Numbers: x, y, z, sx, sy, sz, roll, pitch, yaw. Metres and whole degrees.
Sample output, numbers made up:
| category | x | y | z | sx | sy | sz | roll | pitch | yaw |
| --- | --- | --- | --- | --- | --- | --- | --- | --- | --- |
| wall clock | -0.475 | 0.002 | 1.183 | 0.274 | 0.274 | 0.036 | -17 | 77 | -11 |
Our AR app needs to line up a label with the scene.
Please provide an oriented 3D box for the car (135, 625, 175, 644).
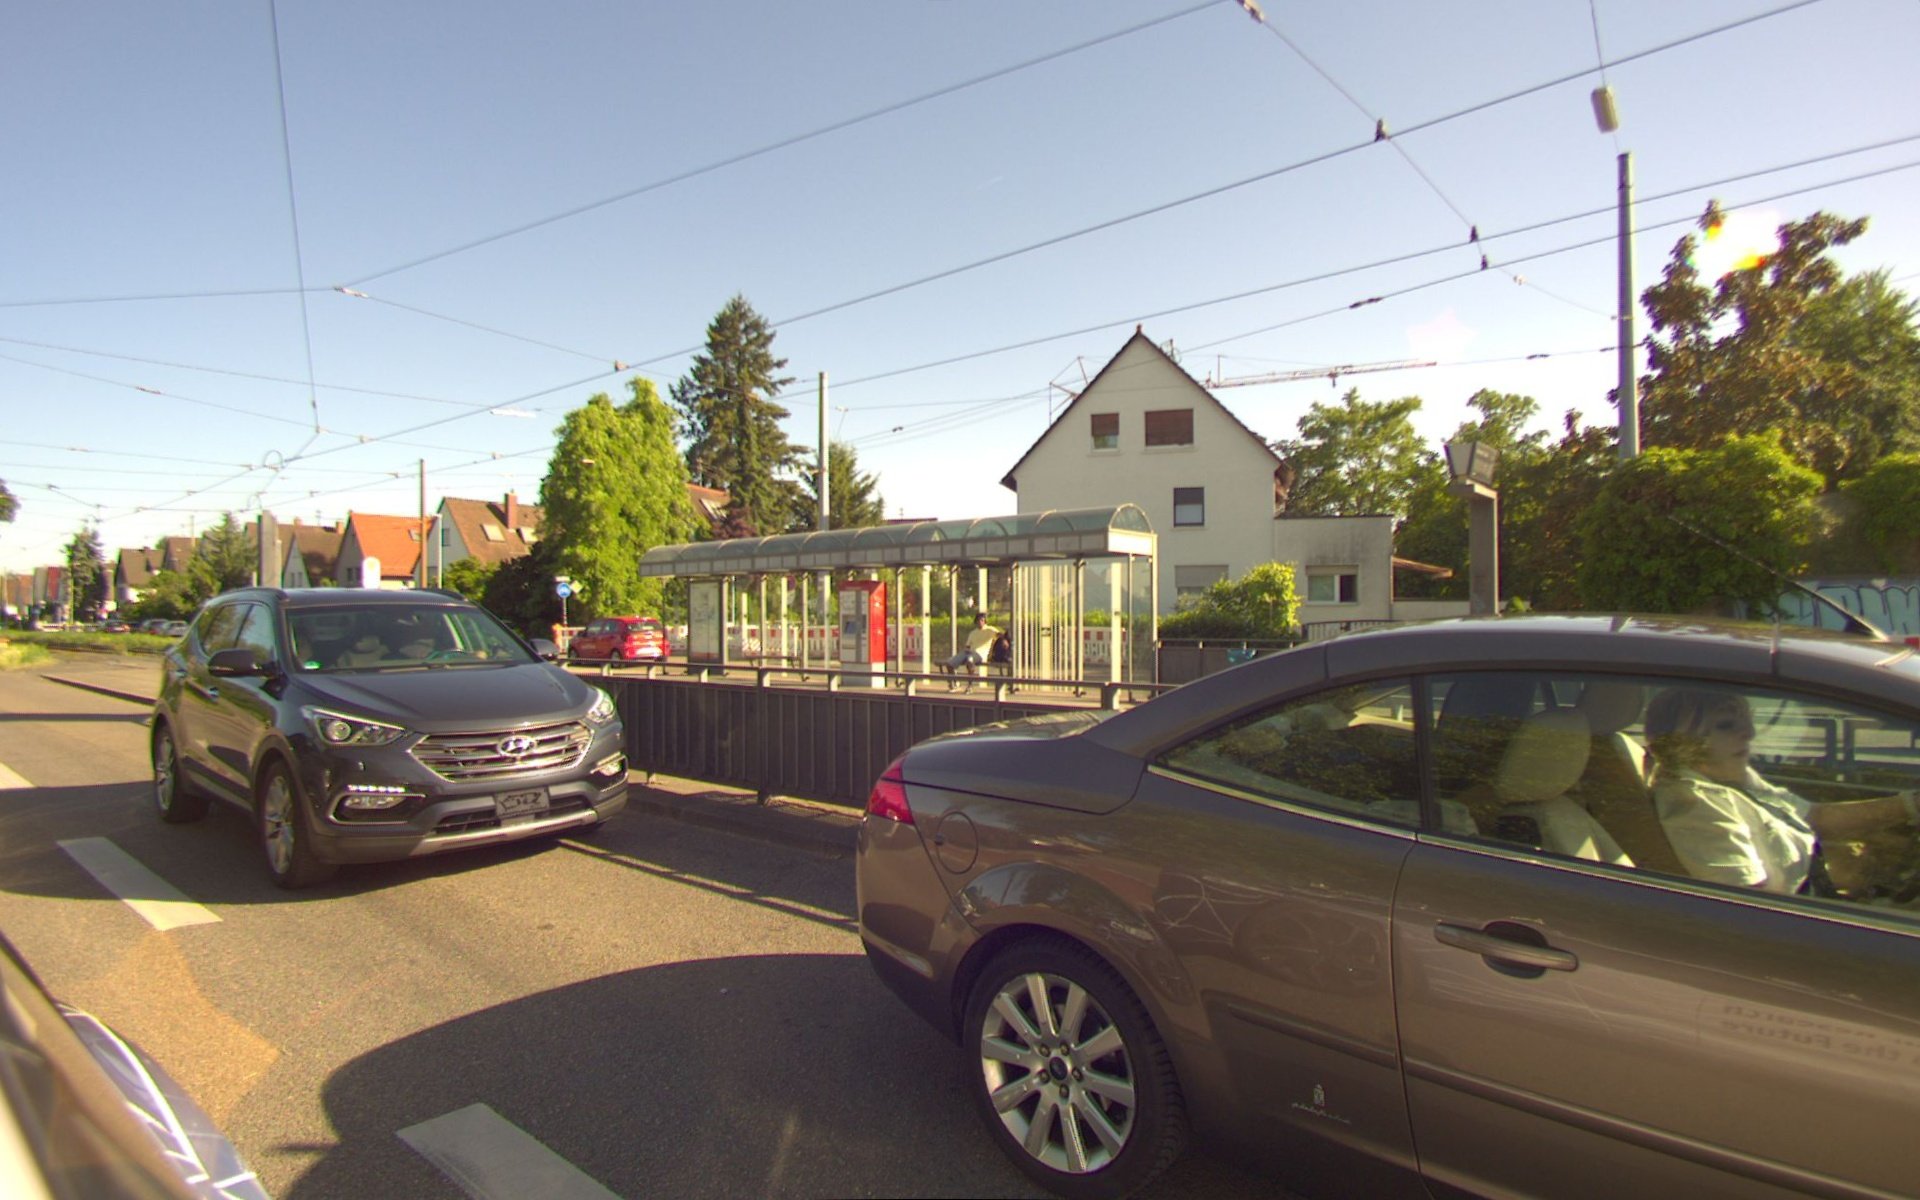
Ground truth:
| category | x | y | z | sx | sy | sz | roll | pitch | yaw |
| --- | --- | --- | --- | --- | --- | --- | --- | --- | --- |
| car | -69.214 | 2.950 | 86.965 | 4.534 | 1.573 | 1.864 | -2 | 0 | 41 |

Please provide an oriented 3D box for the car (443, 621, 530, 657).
| category | x | y | z | sx | sy | sz | roll | pitch | yaw |
| --- | --- | --- | --- | --- | --- | --- | --- | --- | --- |
| car | -21.686 | 1.735 | 46.325 | 4.064 | 1.512 | 1.974 | -1 | 0 | 38 |

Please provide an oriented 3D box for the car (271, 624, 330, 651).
| category | x | y | z | sx | sy | sz | roll | pitch | yaw |
| --- | --- | --- | --- | --- | --- | --- | --- | --- | --- |
| car | -40.480 | 2.276 | 62.093 | 4.438 | 1.477 | 1.887 | -1 | 0 | 41 |

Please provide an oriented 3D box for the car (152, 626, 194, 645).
| category | x | y | z | sx | sy | sz | roll | pitch | yaw |
| --- | --- | --- | --- | --- | --- | --- | --- | --- | --- |
| car | -65.216 | 2.916 | 83.872 | 4.837 | 1.483 | 1.864 | -2 | 0 | 42 |

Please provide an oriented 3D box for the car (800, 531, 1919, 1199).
| category | x | y | z | sx | sy | sz | roll | pitch | yaw |
| --- | --- | --- | --- | --- | --- | --- | --- | --- | --- |
| car | 1.726 | 0.651 | 2.278 | 4.331 | 1.461 | 1.757 | -2 | -2 | 41 |

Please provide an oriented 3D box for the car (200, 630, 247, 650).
| category | x | y | z | sx | sy | sz | roll | pitch | yaw |
| --- | --- | --- | --- | --- | --- | --- | --- | --- | --- |
| car | -54.268 | 2.950 | 74.563 | 4.308 | 1.382 | 1.972 | -2 | -1 | 42 |

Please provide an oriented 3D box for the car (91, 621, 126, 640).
| category | x | y | z | sx | sy | sz | roll | pitch | yaw |
| --- | --- | --- | --- | --- | --- | --- | --- | --- | --- |
| car | -84.633 | 3.015 | 100.547 | 4.582 | 1.877 | 1.973 | -2 | -1 | 41 |

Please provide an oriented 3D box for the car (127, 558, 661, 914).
| category | x | y | z | sx | sy | sz | roll | pitch | yaw |
| --- | --- | --- | --- | --- | --- | --- | --- | --- | --- |
| car | -3.968 | 0.685 | 6.761 | 4.285 | 1.642 | 1.757 | -2 | -2 | 41 |

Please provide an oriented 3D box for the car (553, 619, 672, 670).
| category | x | y | z | sx | sy | sz | roll | pitch | yaw |
| --- | --- | --- | --- | --- | --- | --- | --- | --- | --- |
| car | -10.410 | 1.304 | 30.196 | 4.014 | 1.413 | 1.587 | -2 | -2 | 41 |

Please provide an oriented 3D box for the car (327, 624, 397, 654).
| category | x | y | z | sx | sy | sz | roll | pitch | yaw |
| --- | --- | --- | --- | --- | --- | --- | --- | --- | --- |
| car | -32.987 | 2.120 | 55.804 | 4.610 | 1.483 | 1.865 | -1 | 0 | 40 |

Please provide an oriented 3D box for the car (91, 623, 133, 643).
| category | x | y | z | sx | sy | sz | roll | pitch | yaw |
| --- | --- | --- | --- | --- | --- | --- | --- | --- | --- |
| car | -64.038 | 2.483 | 76.425 | 4.341 | 1.532 | 1.717 | -2 | -2 | 41 |

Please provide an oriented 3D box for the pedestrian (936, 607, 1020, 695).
| category | x | y | z | sx | sy | sz | roll | pitch | yaw |
| --- | --- | --- | --- | --- | --- | --- | --- | --- | --- |
| pedestrian | 0.316 | 0.880 | 17.515 | 1.006 | 1.464 | 1.050 | -1 | -4 | 40 |

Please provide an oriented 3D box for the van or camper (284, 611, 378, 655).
| category | x | y | z | sx | sy | sz | roll | pitch | yaw |
| --- | --- | --- | --- | --- | --- | --- | --- | --- | --- |
| van or camper | -28.833 | 1.482 | 46.263 | 5.984 | 1.842 | 1.973 | -2 | 0 | 41 |
